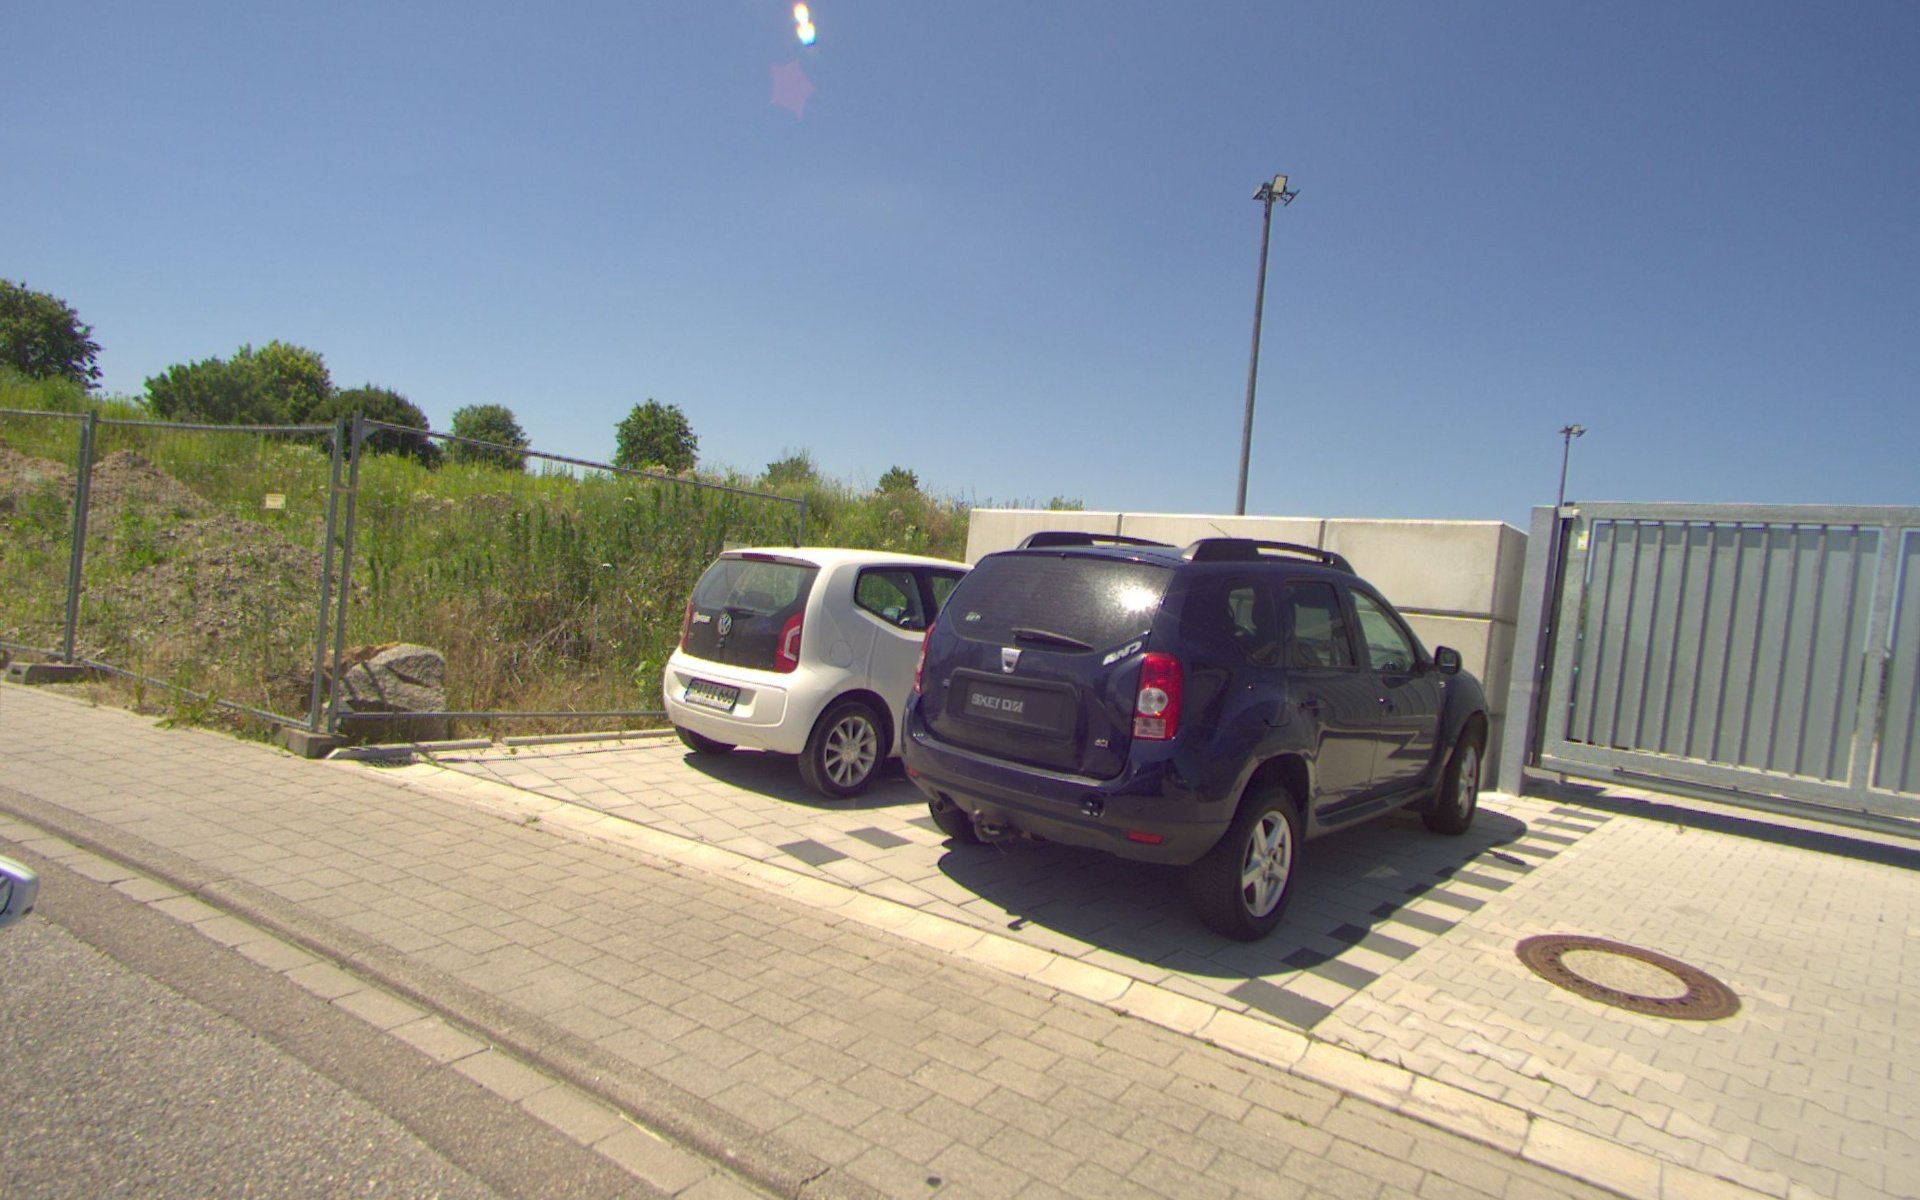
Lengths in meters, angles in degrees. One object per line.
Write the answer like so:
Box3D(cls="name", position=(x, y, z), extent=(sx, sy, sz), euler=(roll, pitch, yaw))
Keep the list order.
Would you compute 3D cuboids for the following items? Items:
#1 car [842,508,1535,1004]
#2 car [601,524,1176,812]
Box3D(cls="car", position=(1.512, 0.500, 5.538), extent=(1.833, 1.679, 3.993), euler=(8, 5, 43))
Box3D(cls="car", position=(-0.312, 0.398, 7.500), extent=(1.867, 1.482, 3.997), euler=(8, 3, 43))
